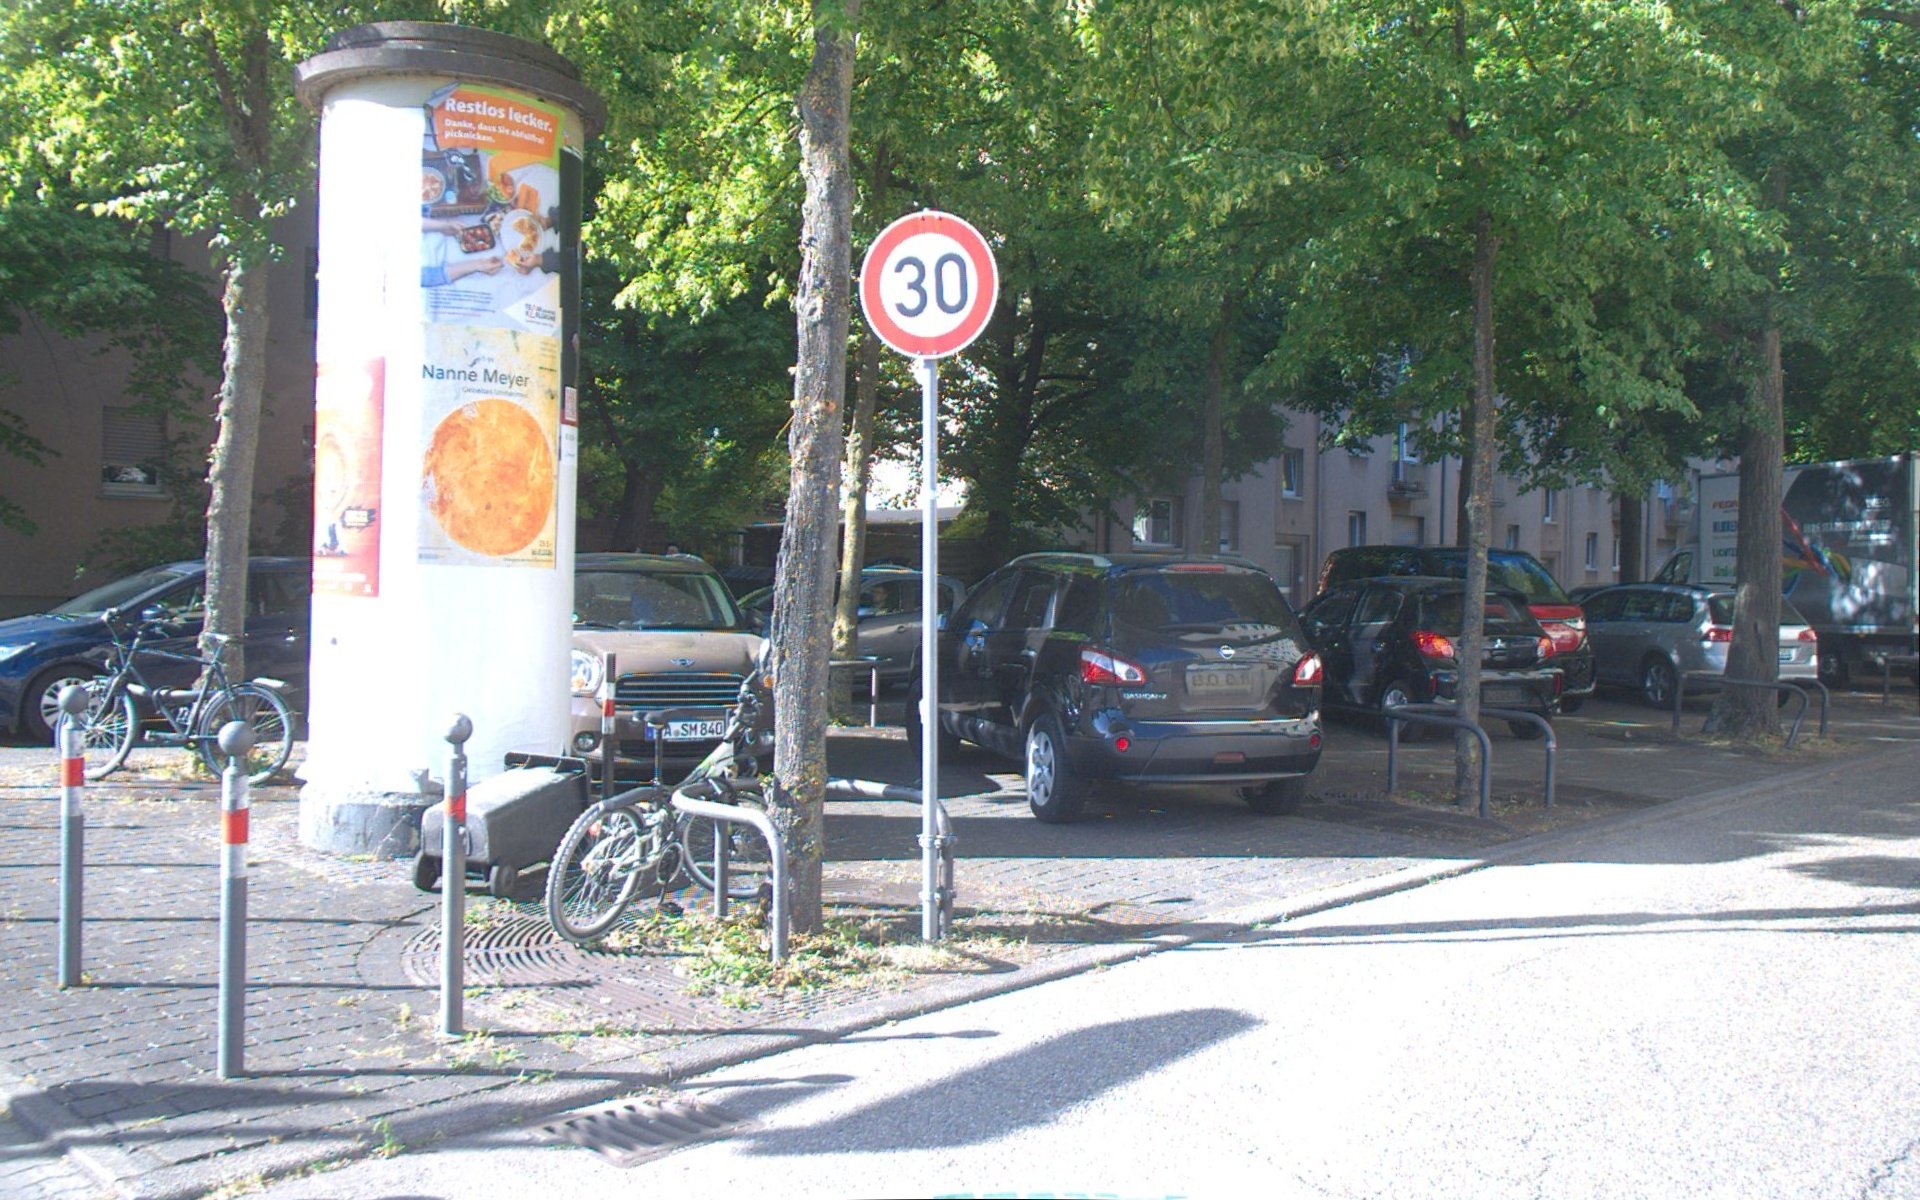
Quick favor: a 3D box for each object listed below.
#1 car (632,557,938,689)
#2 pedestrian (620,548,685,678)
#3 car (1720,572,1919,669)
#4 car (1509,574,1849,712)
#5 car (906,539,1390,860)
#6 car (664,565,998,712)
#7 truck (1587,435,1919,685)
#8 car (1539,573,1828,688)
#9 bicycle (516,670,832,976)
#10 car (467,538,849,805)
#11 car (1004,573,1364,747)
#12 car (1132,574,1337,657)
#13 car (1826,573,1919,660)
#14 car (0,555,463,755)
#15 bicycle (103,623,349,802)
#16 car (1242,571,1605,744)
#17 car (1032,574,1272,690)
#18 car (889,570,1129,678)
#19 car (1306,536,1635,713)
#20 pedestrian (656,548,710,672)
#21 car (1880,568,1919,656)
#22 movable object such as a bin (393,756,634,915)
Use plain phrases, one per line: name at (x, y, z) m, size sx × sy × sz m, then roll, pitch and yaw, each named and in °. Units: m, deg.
car at (-2.360, 0.266, 23.190) m, size 1.728 × 1.668 × 4.221 m, roll 1°, pitch 1°, yaw 42°
pedestrian at (-4.257, 0.168, 22.889) m, size 0.728 × 1.766 × 0.537 m, roll 1°, pitch 1°, yaw 40°
car at (15.404, 0.314, 28.827) m, size 1.811 × 1.529 × 3.985 m, roll 1°, pitch 1°, yaw -14°
car at (8.928, 0.465, 20.999) m, size 1.776 × 1.533 × 4.331 m, roll 1°, pitch 1°, yaw -12°
car at (1.031, 0.481, 11.446) m, size 1.801 × 1.700 × 4.319 m, roll 1°, pitch 3°, yaw -16°
car at (-1.393, 0.378, 19.256) m, size 1.725 × 1.512 × 3.933 m, roll 1°, pitch 1°, yaw 37°
truck at (13.182, -0.571, 25.965) m, size 2.496 × 3.351 × 7.298 m, roll 0°, pitch 1°, yaw -14°
car at (10.672, 0.390, 24.779) m, size 1.776 × 1.533 × 4.331 m, roll 1°, pitch 1°, yaw -12°
bicycle at (-1.169, 0.886, 7.084) m, size 0.346 × 1.091 × 1.588 m, roll 1°, pitch 1°, yaw 33°
car at (-2.416, 0.414, 12.345) m, size 1.892 × 1.639 × 3.969 m, roll 0°, pitch 1°, yaw -25°
car at (2.020, 0.482, 16.106) m, size 1.790 × 1.447 × 3.924 m, roll 0°, pitch 1°, yaw -22°
car at (5.295, 0.256, 31.504) m, size 1.740 × 1.460 × 4.314 m, roll 2°, pitch 1°, yaw 44°
car at (17.993, 0.312, 30.038) m, size 1.699 × 1.532 × 4.093 m, roll 1°, pitch 1°, yaw -14°
car at (-6.845, 0.405, 14.753) m, size 1.877 × 1.545 × 4.271 m, roll 1°, pitch 1°, yaw 44°
bicycle at (-4.922, 0.721, 11.189) m, size 0.346 × 1.091 × 1.588 m, roll 1°, pitch 1°, yaw 33°
car at (4.478, 0.481, 16.589) m, size 1.728 × 1.506 × 3.805 m, roll 0°, pitch 1°, yaw -17°
car at (2.851, 0.404, 23.907) m, size 1.725 × 1.512 × 3.933 m, roll 1°, pitch 1°, yaw 37°
car at (0.852, 0.342, 26.862) m, size 1.730 × 1.597 × 3.922 m, roll 2°, pitch 1°, yaw 44°
car at (6.055, 0.229, 20.262) m, size 1.896 × 1.906 × 4.490 m, roll 1°, pitch 1°, yaw -12°
pedestrian at (-3.991, 0.139, 23.794) m, size 0.727 × 1.766 × 0.538 m, roll 0°, pitch 1°, yaw -13°
car at (22.332, 0.314, 35.265) m, size 2.044 × 1.897 × 4.496 m, roll 1°, pitch 1°, yaw -21°
movable object such as a bin at (-2.139, 1.115, 8.039) m, size 0.564 × 0.575 × 1.113 m, roll 1°, pitch 1°, yaw 23°
